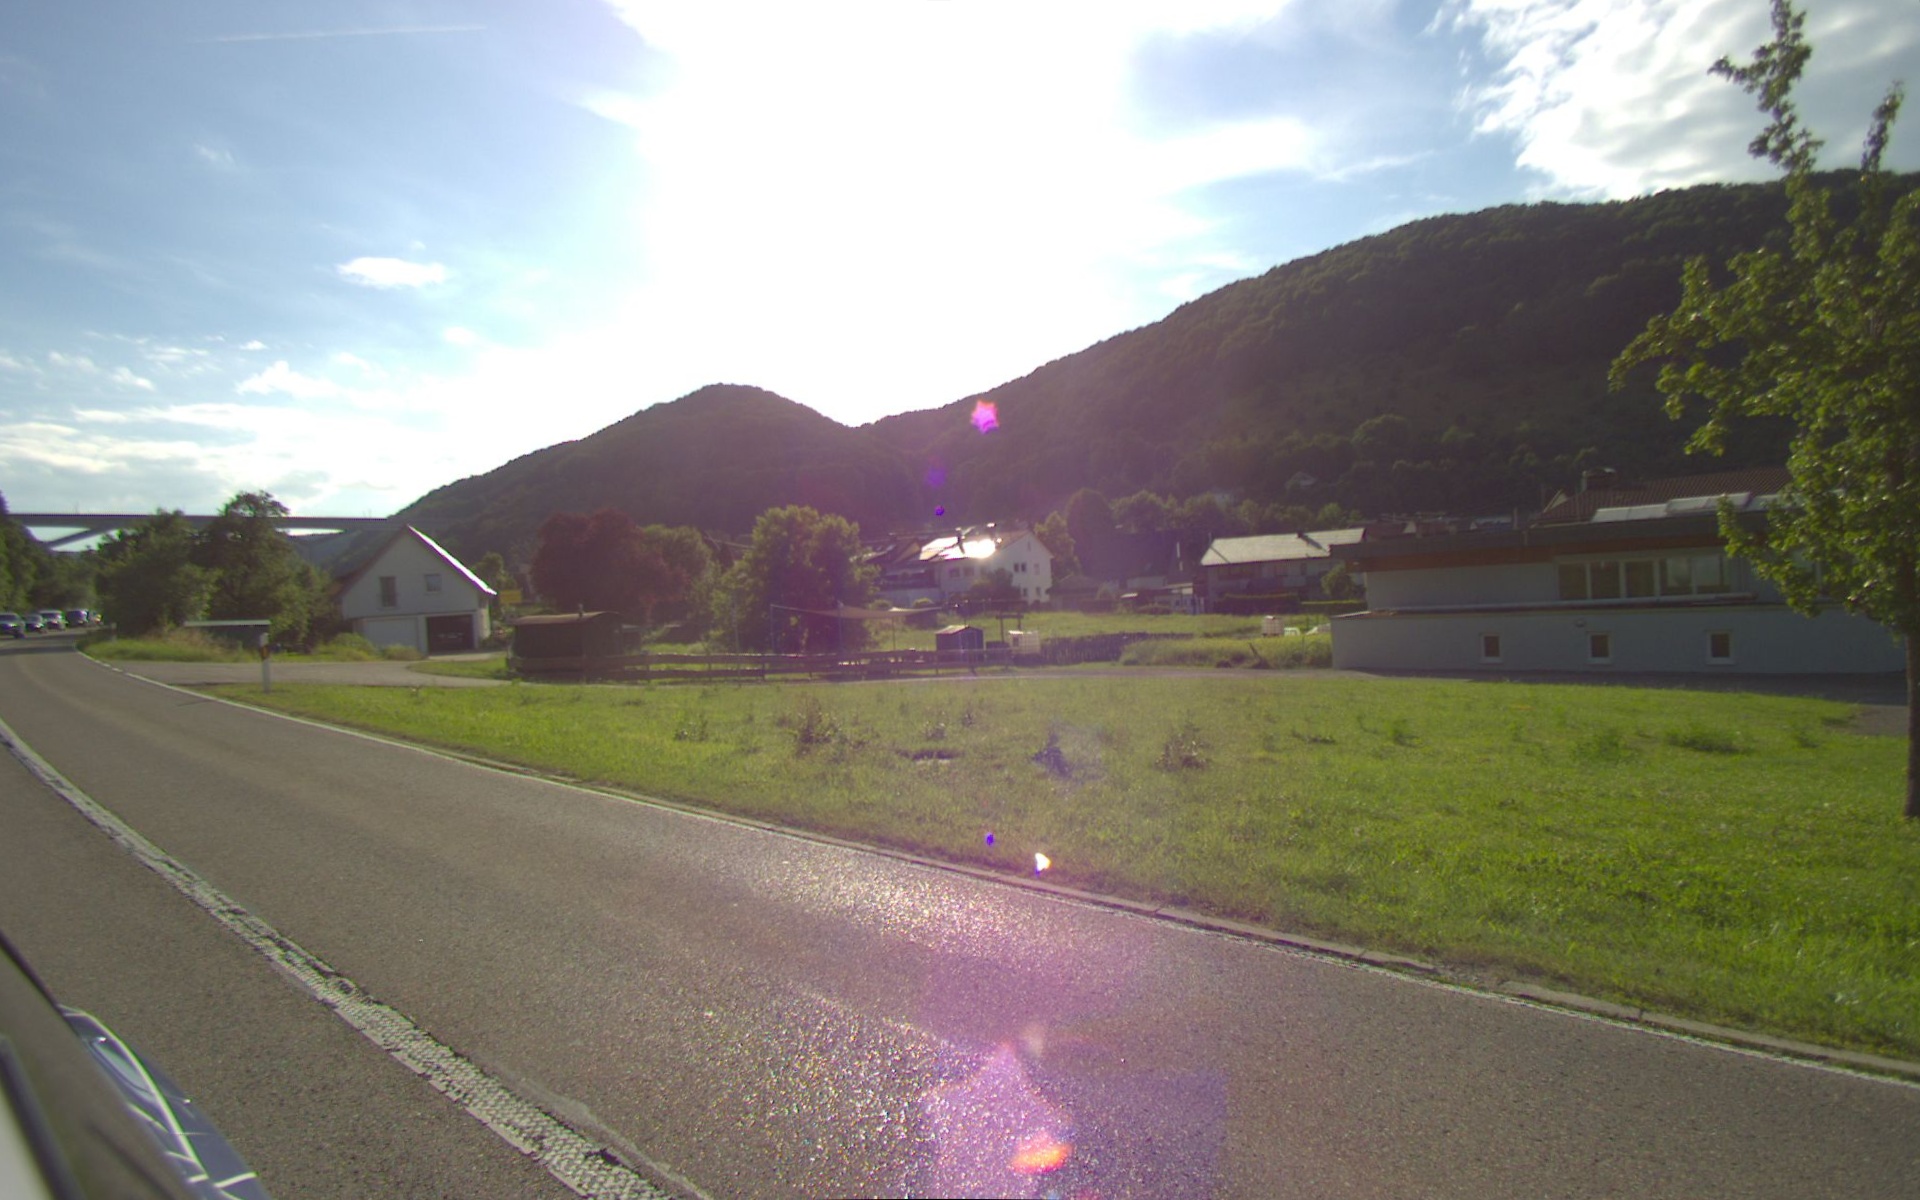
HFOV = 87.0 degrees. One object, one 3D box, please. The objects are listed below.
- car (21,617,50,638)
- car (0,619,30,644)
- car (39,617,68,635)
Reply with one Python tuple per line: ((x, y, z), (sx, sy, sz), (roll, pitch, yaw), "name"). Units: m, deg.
((-70.157, 2.079, 76.830), (1.606, 1.490, 3.684), (-1, 0, -42), "car")
((-59.954, 1.972, 63.716), (3.677, 1.490, 1.609), (-1, 0, 41), "car")
((-78.890, 2.236, 88.075), (3.680, 1.490, 1.608), (-1, 0, 43), "car")
